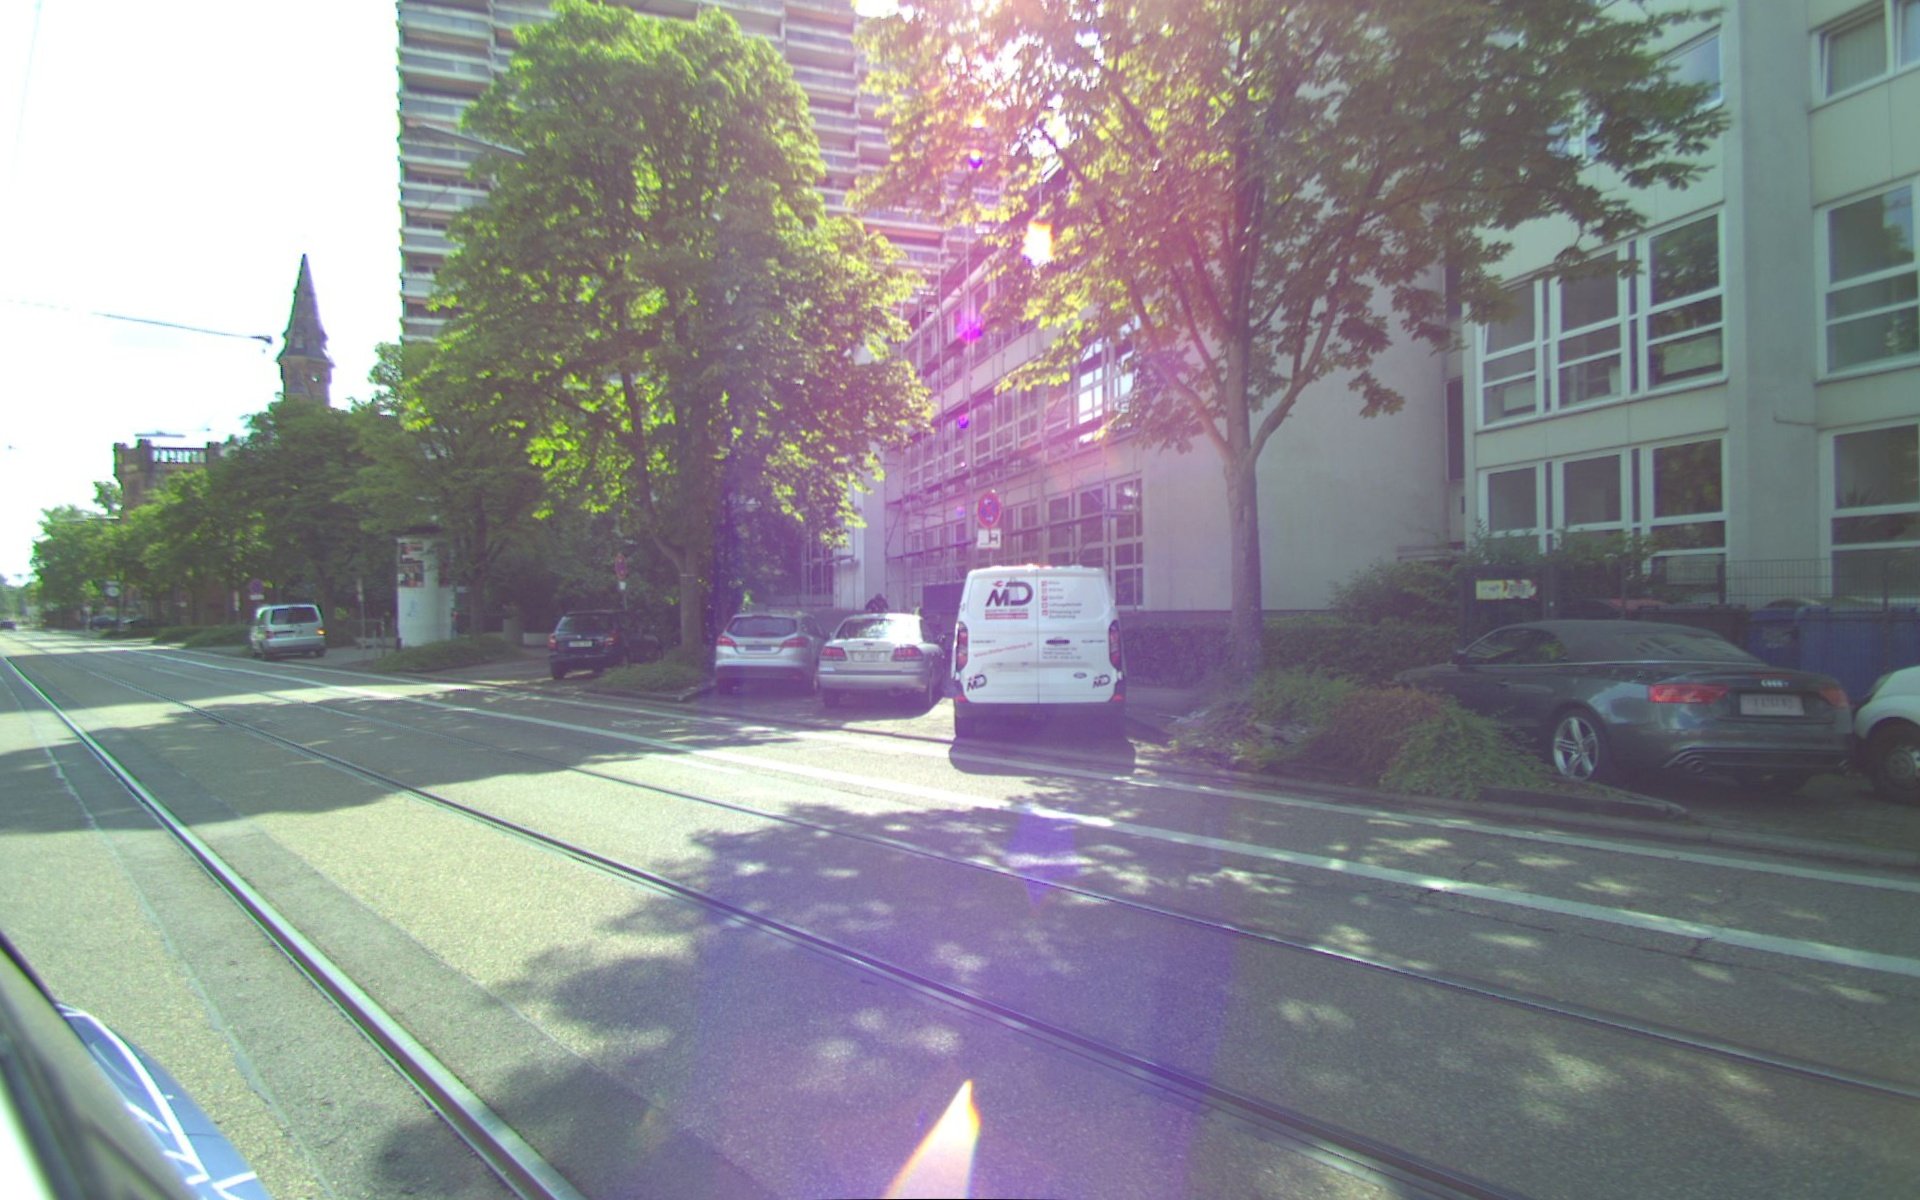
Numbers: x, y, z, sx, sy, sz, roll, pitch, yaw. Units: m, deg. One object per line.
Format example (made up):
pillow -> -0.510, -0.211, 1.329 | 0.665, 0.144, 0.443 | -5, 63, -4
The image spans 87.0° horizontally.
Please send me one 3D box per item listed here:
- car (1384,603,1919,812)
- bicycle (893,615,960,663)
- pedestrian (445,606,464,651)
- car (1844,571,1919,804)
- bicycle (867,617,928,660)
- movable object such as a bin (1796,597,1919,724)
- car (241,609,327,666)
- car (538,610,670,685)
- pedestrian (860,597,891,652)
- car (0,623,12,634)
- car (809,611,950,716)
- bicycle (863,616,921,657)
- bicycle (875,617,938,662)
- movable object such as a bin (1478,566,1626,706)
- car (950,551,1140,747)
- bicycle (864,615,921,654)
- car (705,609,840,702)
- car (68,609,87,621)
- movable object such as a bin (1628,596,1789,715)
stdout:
car -> 5.661, 0.817, 9.028 | 1.695, 1.428, 4.005 | 1, -2, -7
bicycle -> -0.850, 0.990, 25.663 | 1.553, 1.171, 0.544 | -1, -3, -21
pedestrian -> -20.707, 1.163, 41.458 | 0.516, 1.767, 0.636 | -3, 3, -40
car -> 7.884, 0.603, 6.165 | 1.736, 1.706, 3.713 | 1, -2, 1
bicycle -> -1.723, 1.057, 27.786 | 1.553, 1.122, 0.544 | -1, -3, -21
movable object such as a bin -> 10.679, 0.693, 11.691 | 1.538, 1.374, 1.372 | -1, -3, 41
car -> -24.853, 1.317, 37.139 | 1.865, 1.865, 4.240 | -4, 2, -43
car -> -8.041, 1.018, 23.215 | 1.717, 1.535, 3.886 | -1, 0, -1
pedestrian -> -2.562, 0.740, 30.608 | 0.661, 1.636, 0.634 | 0, 1, 37
car -> -139.571, 4.140, 147.491 | 4.237, 1.657, 1.866 | -1, 0, 43
car -> -1.170, 0.931, 16.474 | 1.798, 1.461, 4.168 | -1, -1, 2
bicycle -> -1.961, 1.047, 29.076 | 1.553, 1.101, 0.544 | -1, -3, -21
bicycle -> -1.428, 1.052, 27.055 | 1.553, 1.130, 0.544 | -1, -3, -21
movable object such as a bin -> 8.193, 0.493, 14.003 | 1.538, 1.795, 1.372 | -1, -3, 41
car -> 1.001, 0.545, 12.868 | 1.943, 2.012, 4.681 | -1, -1, 3
bicycle -> -2.003, 1.016, 29.993 | 1.553, 1.089, 0.544 | -1, -3, -21
car -> -3.349, 0.949, 18.842 | 1.796, 1.512, 4.194 | -1, -1, -1
car -> -121.598, 2.019, 139.437 | 1.605, 1.586, 3.954 | 4, -3, -44
movable object such as a bin -> 9.460, 0.683, 12.790 | 1.538, 1.374, 1.372 | -1, -3, 41
